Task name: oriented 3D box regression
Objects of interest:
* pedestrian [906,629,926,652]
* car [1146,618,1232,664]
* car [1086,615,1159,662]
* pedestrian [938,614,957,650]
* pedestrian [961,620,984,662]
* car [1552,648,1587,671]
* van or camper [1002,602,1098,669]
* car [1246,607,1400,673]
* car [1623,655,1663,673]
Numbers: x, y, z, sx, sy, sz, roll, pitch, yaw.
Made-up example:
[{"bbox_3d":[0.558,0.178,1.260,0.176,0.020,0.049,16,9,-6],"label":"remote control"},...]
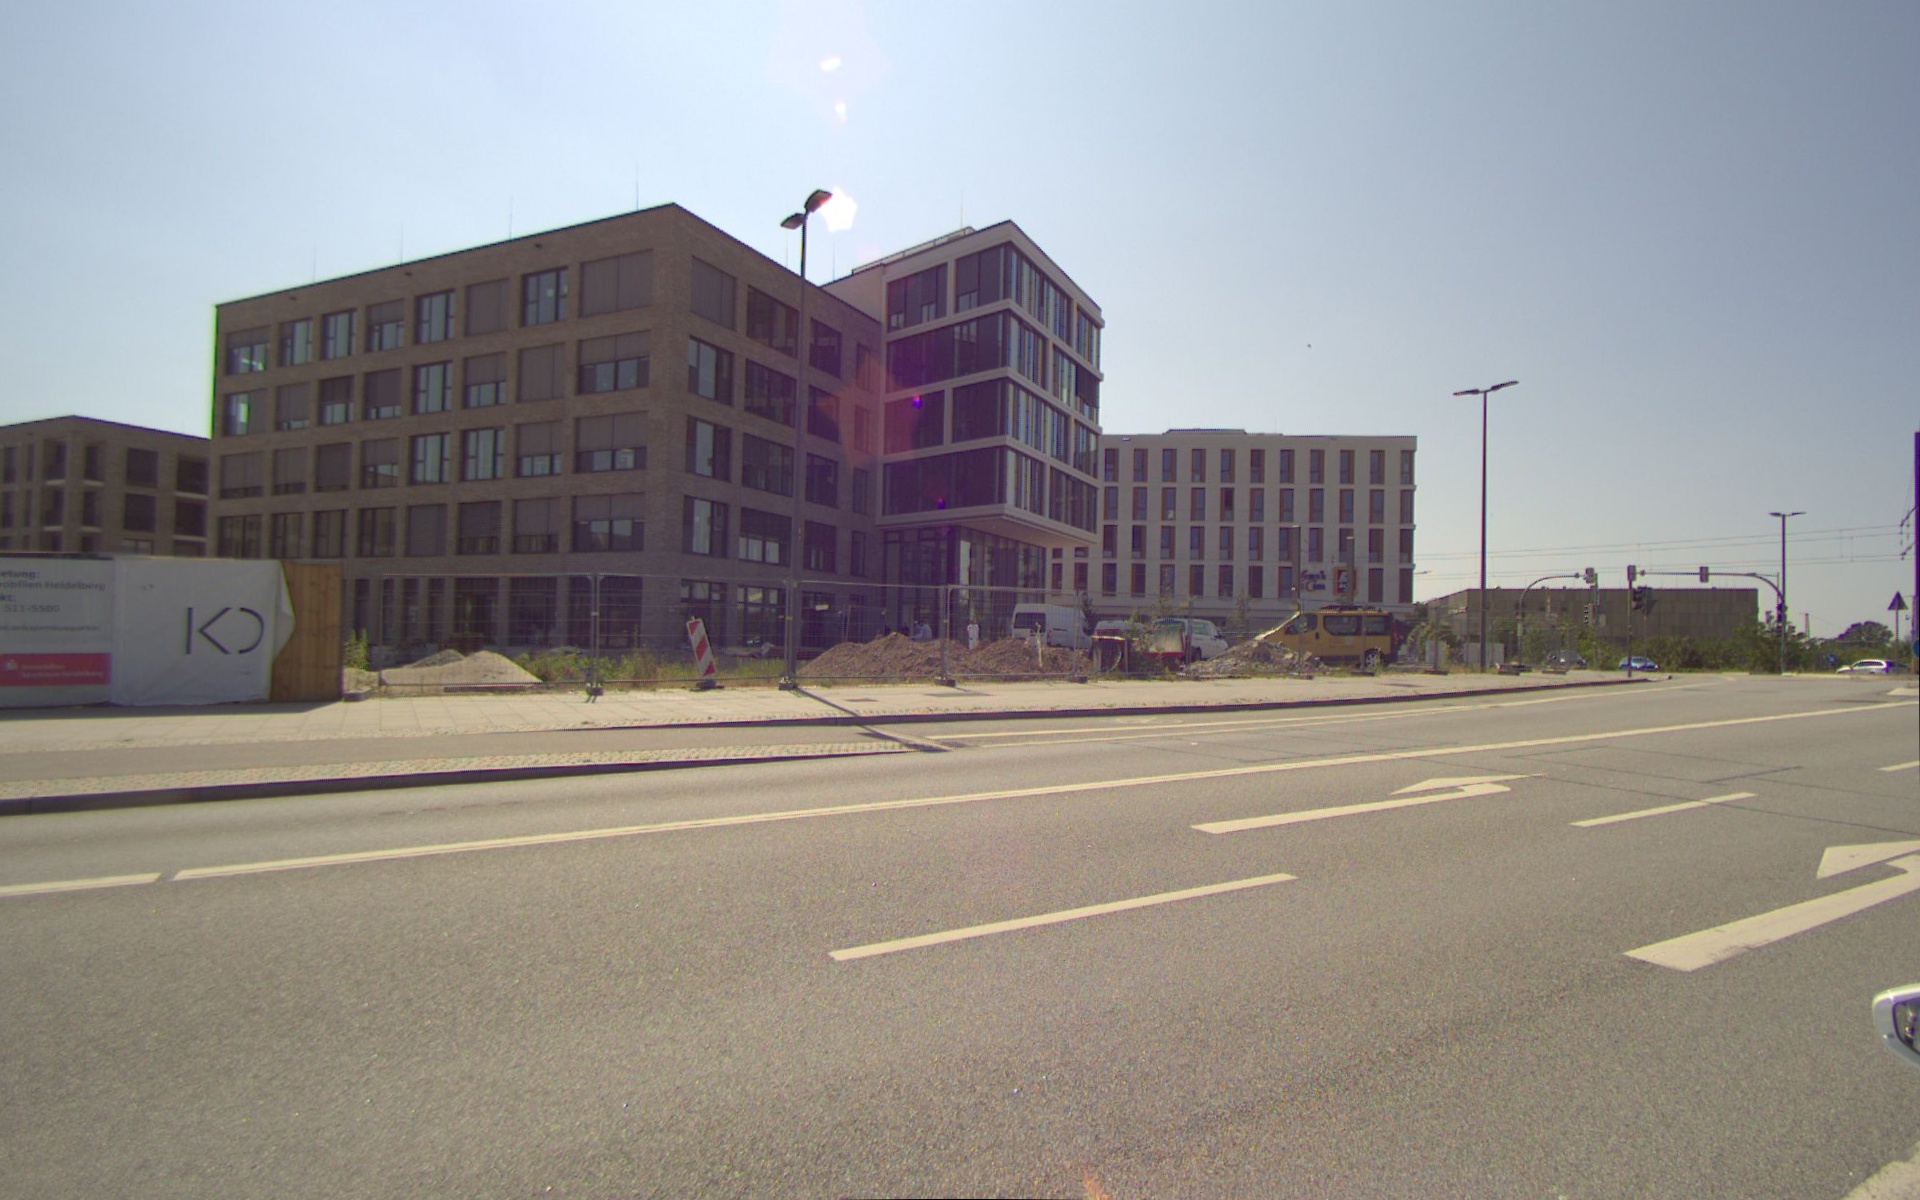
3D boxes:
[{"bbox_3d":[-2.075,1.891,47.539,0.734,1.041,0.699,2,0,16],"label":"pedestrian"},{"bbox_3d":[9.669,1.684,42.172,1.841,1.797,4.637,2,0,36],"label":"car"},{"bbox_3d":[7.110,1.647,43.677,1.759,1.881,3.842,2,0,32],"label":"car"},{"bbox_3d":[-0.602,1.539,48.929,0.734,1.741,0.699,2,0,16],"label":"pedestrian"},{"bbox_3d":[0.530,1.716,42.362,0.734,1.741,0.699,2,0,16],"label":"pedestrian"},{"bbox_3d":[44.348,4.291,73.120,1.646,1.496,3.405,0,-1,22],"label":"car"},{"bbox_3d":[4.108,1.544,45.033,2.273,2.772,4.975,2,0,32],"label":"van or camper"},{"bbox_3d":[12.105,1.293,33.754,4.533,1.988,1.991,2,0,9],"label":"car"},{"bbox_3d":[55.436,5.188,81.561,1.787,1.348,4.000,2,-2,20],"label":"car"}]
